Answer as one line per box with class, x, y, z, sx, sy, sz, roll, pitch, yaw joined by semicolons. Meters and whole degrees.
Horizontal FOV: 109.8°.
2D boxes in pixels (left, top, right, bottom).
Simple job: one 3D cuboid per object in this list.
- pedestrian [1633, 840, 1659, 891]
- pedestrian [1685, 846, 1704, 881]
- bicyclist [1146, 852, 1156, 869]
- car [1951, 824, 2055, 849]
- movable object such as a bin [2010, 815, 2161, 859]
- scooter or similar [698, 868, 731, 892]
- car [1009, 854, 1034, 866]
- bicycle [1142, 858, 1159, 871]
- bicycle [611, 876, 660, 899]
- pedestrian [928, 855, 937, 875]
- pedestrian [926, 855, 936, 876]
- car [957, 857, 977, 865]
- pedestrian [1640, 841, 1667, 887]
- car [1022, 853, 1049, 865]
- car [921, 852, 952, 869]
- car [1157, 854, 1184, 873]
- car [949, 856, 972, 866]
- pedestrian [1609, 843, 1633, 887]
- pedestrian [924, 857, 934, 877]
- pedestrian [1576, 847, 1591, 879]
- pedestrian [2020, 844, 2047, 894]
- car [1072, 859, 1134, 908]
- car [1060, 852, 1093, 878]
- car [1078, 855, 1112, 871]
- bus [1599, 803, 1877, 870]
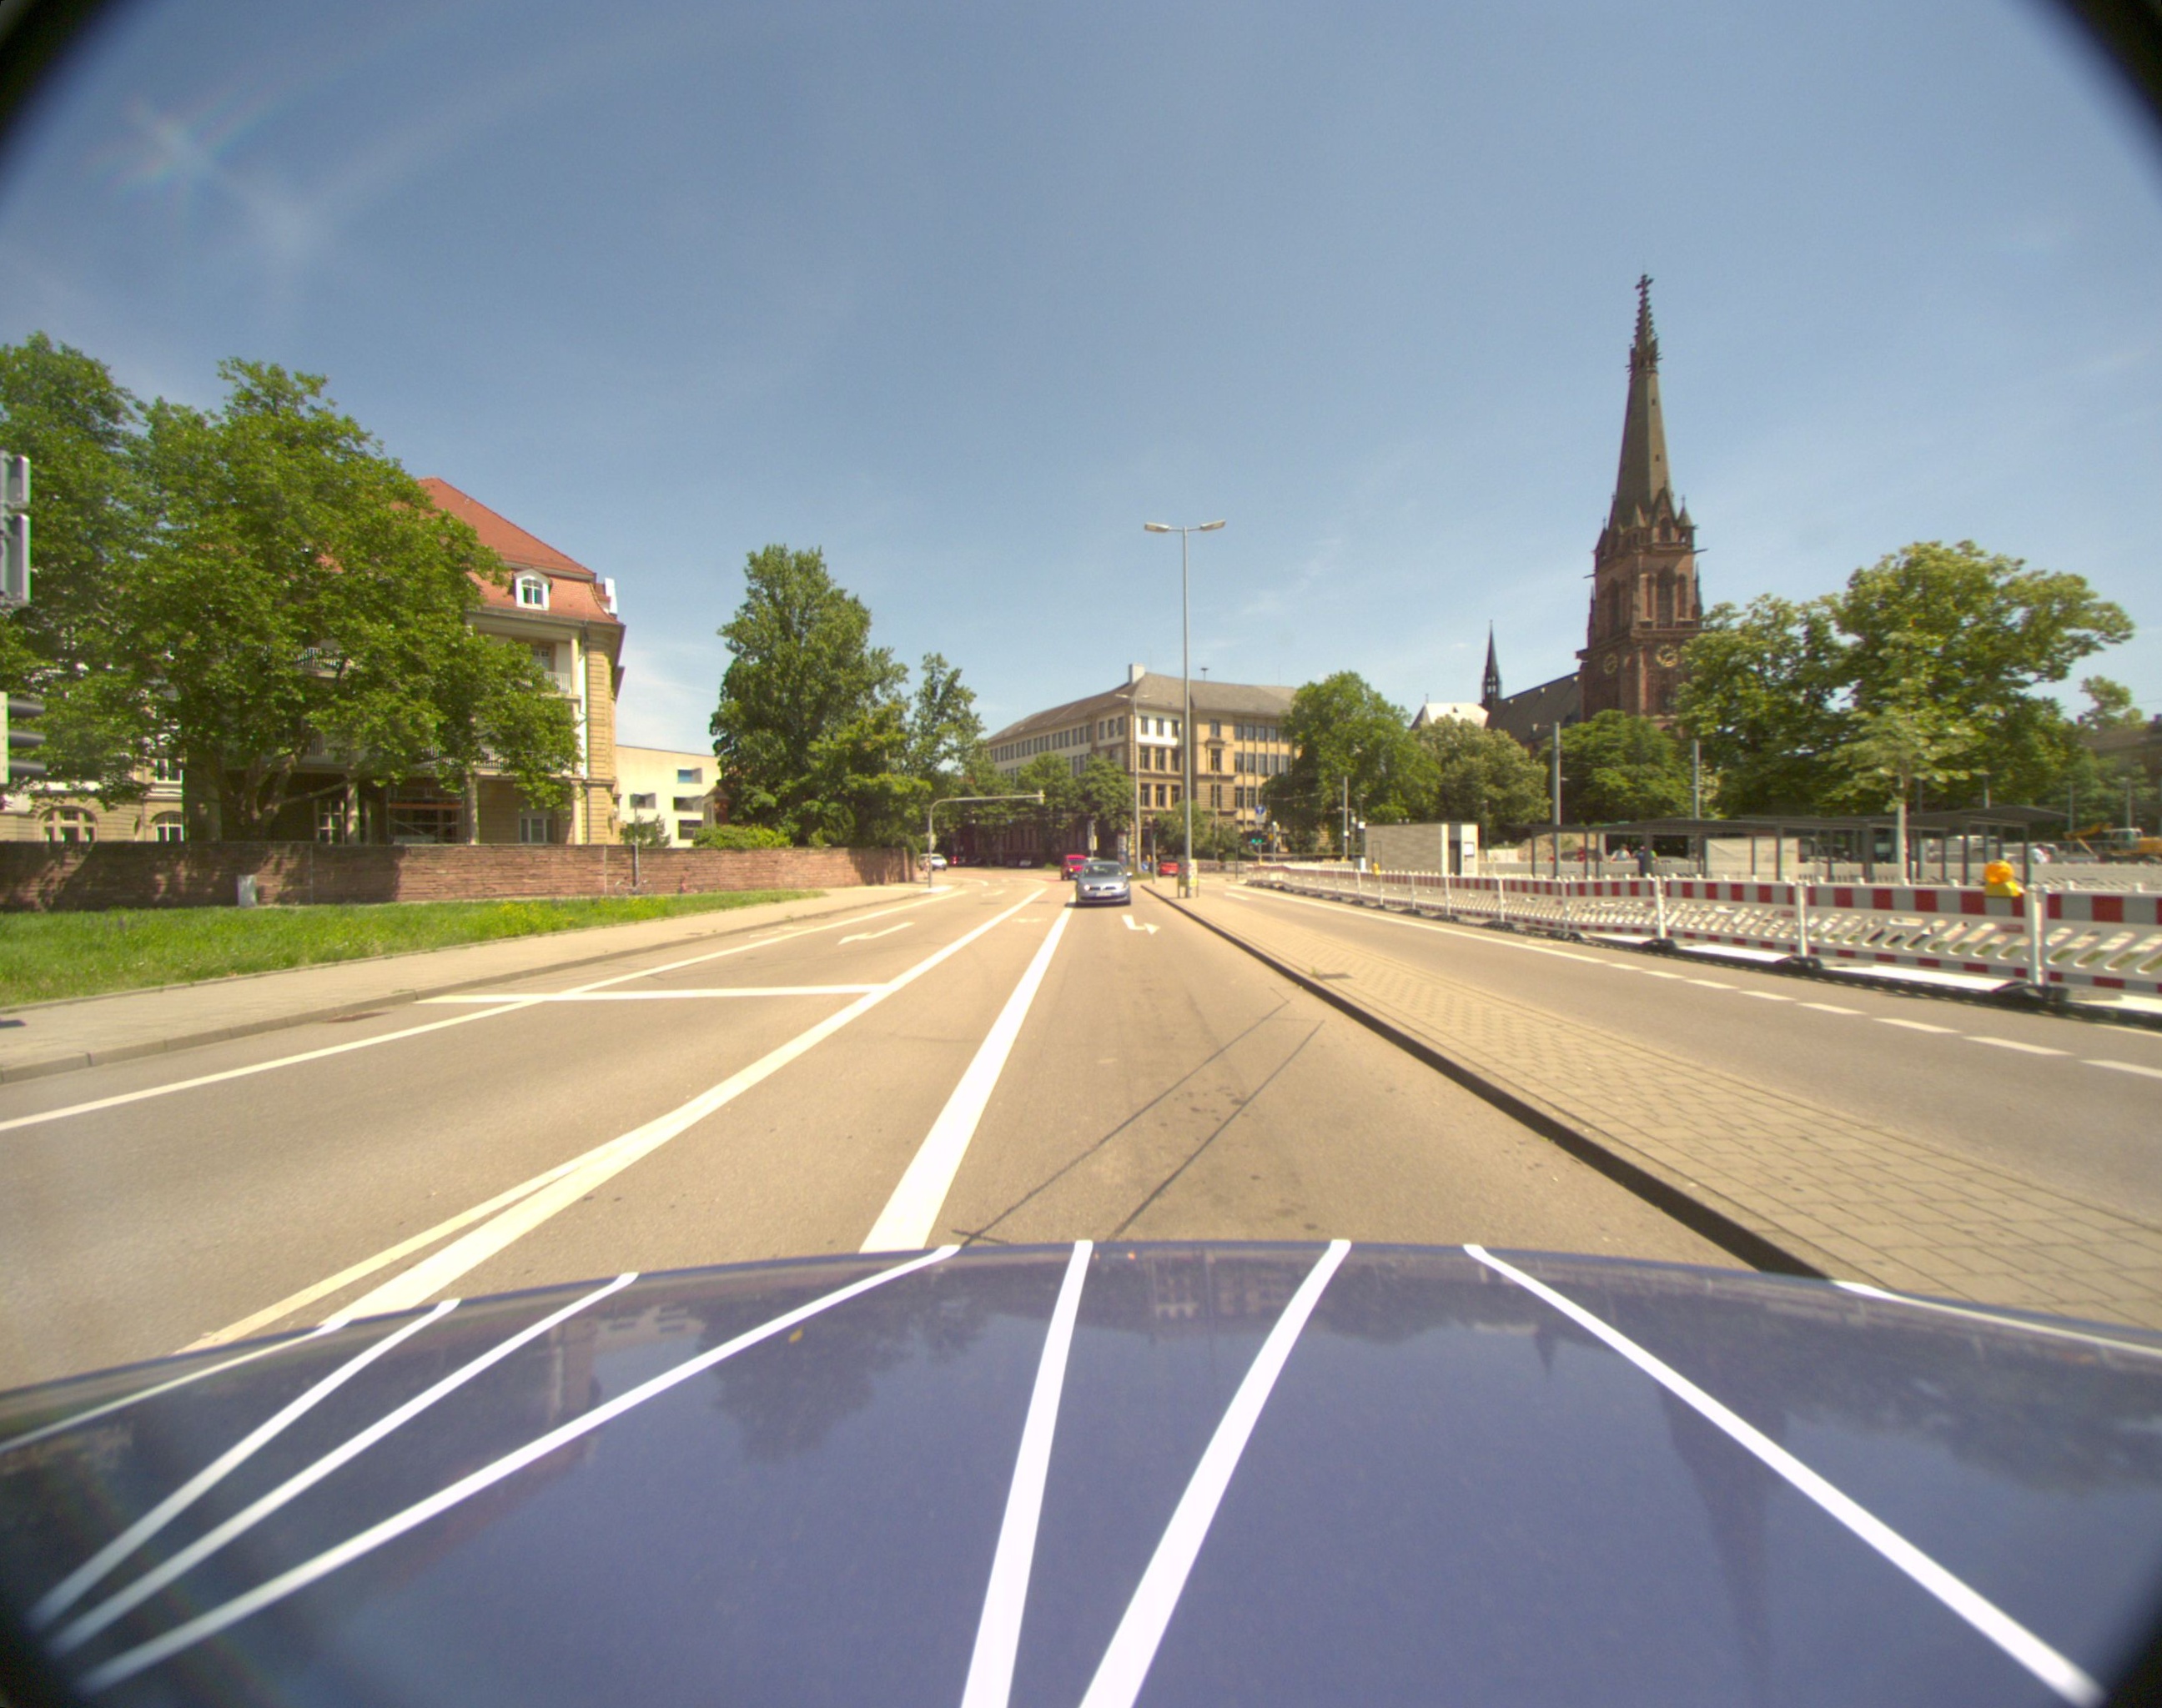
pedestrian;21.753;0.440;29.243;0.694;1.894;0.575;-3;1;-35
pedestrian;30.271;0.468;37.482;0.628;1.645;0.545;-3;1;-38
bicyclist;6.777;0.597;74.081;0.588;1.655;0.797;1;1;-30
car;64.372;-1.174;53.163;1.783;1.593;4.240;-3;1;-13
movable object such as a bin;83.370;-1.330;62.663;2.910;3.369;7.965;-3;1;-15
scooter or similar;-17.722;1.255;36.762;0.373;1.102;1.352;-2;1;39
car;-8.108;0.803;102.904;1.567;1.454;3.156;-2;1;39
bicycle;6.751;1.005;74.103;0.590;1.143;2.005;1;1;-28
bicycle;-19.953;1.482;34.054;1.778;0.923;0.677;-3;1;-44
pedestrian;-12.159;0.909;62.192;0.606;1.601;0.557;2;-1;-31
pedestrian;-12.650;0.955;64.043;0.606;1.702;0.557;2;-1;-32
car;-17.451;1.059;116.597;1.277;1.092;2.995;-2;1;39
pedestrian;22.681;0.396;30.102;0.646;1.778;0.636;-3;1;-34
car;-6.032;0.712;101.051;1.567;1.412;3.559;-2;1;40
car;-17.272;0.783;90.654;1.712;1.852;4.249;-3;1;-38
car;6.773;0.713;57.941;1.692;1.370;4.013;1;1;1
car;-18.952;1.105;119.868;1.611;1.444;3.585;-2;1;28
pedestrian;21.916;0.430;30.828;0.542;1.746;0.657;-4;1;-44
pedestrian;-12.030;1.042;60.000;0.606;1.601;0.557;2;-1;-31
pedestrian;26.738;0.483;40.418;0.564;1.691;0.582;-2;1;37
pedestrian;36.512;0.570;29.123;0.700;1.847;0.604;-3;1;-38
car;0.700;0.893;24.680;1.832;1.406;3.994;0;1;1
car;-0.344;0.781;55.204;1.833;1.756;4.276;-3;1;-7
car;1.369;0.877;75.721;1.823;1.420;4.419;1;0;-21
bus;33.791;-0.730;39.847;2.860;3.036;10.578;-3;1;-32
